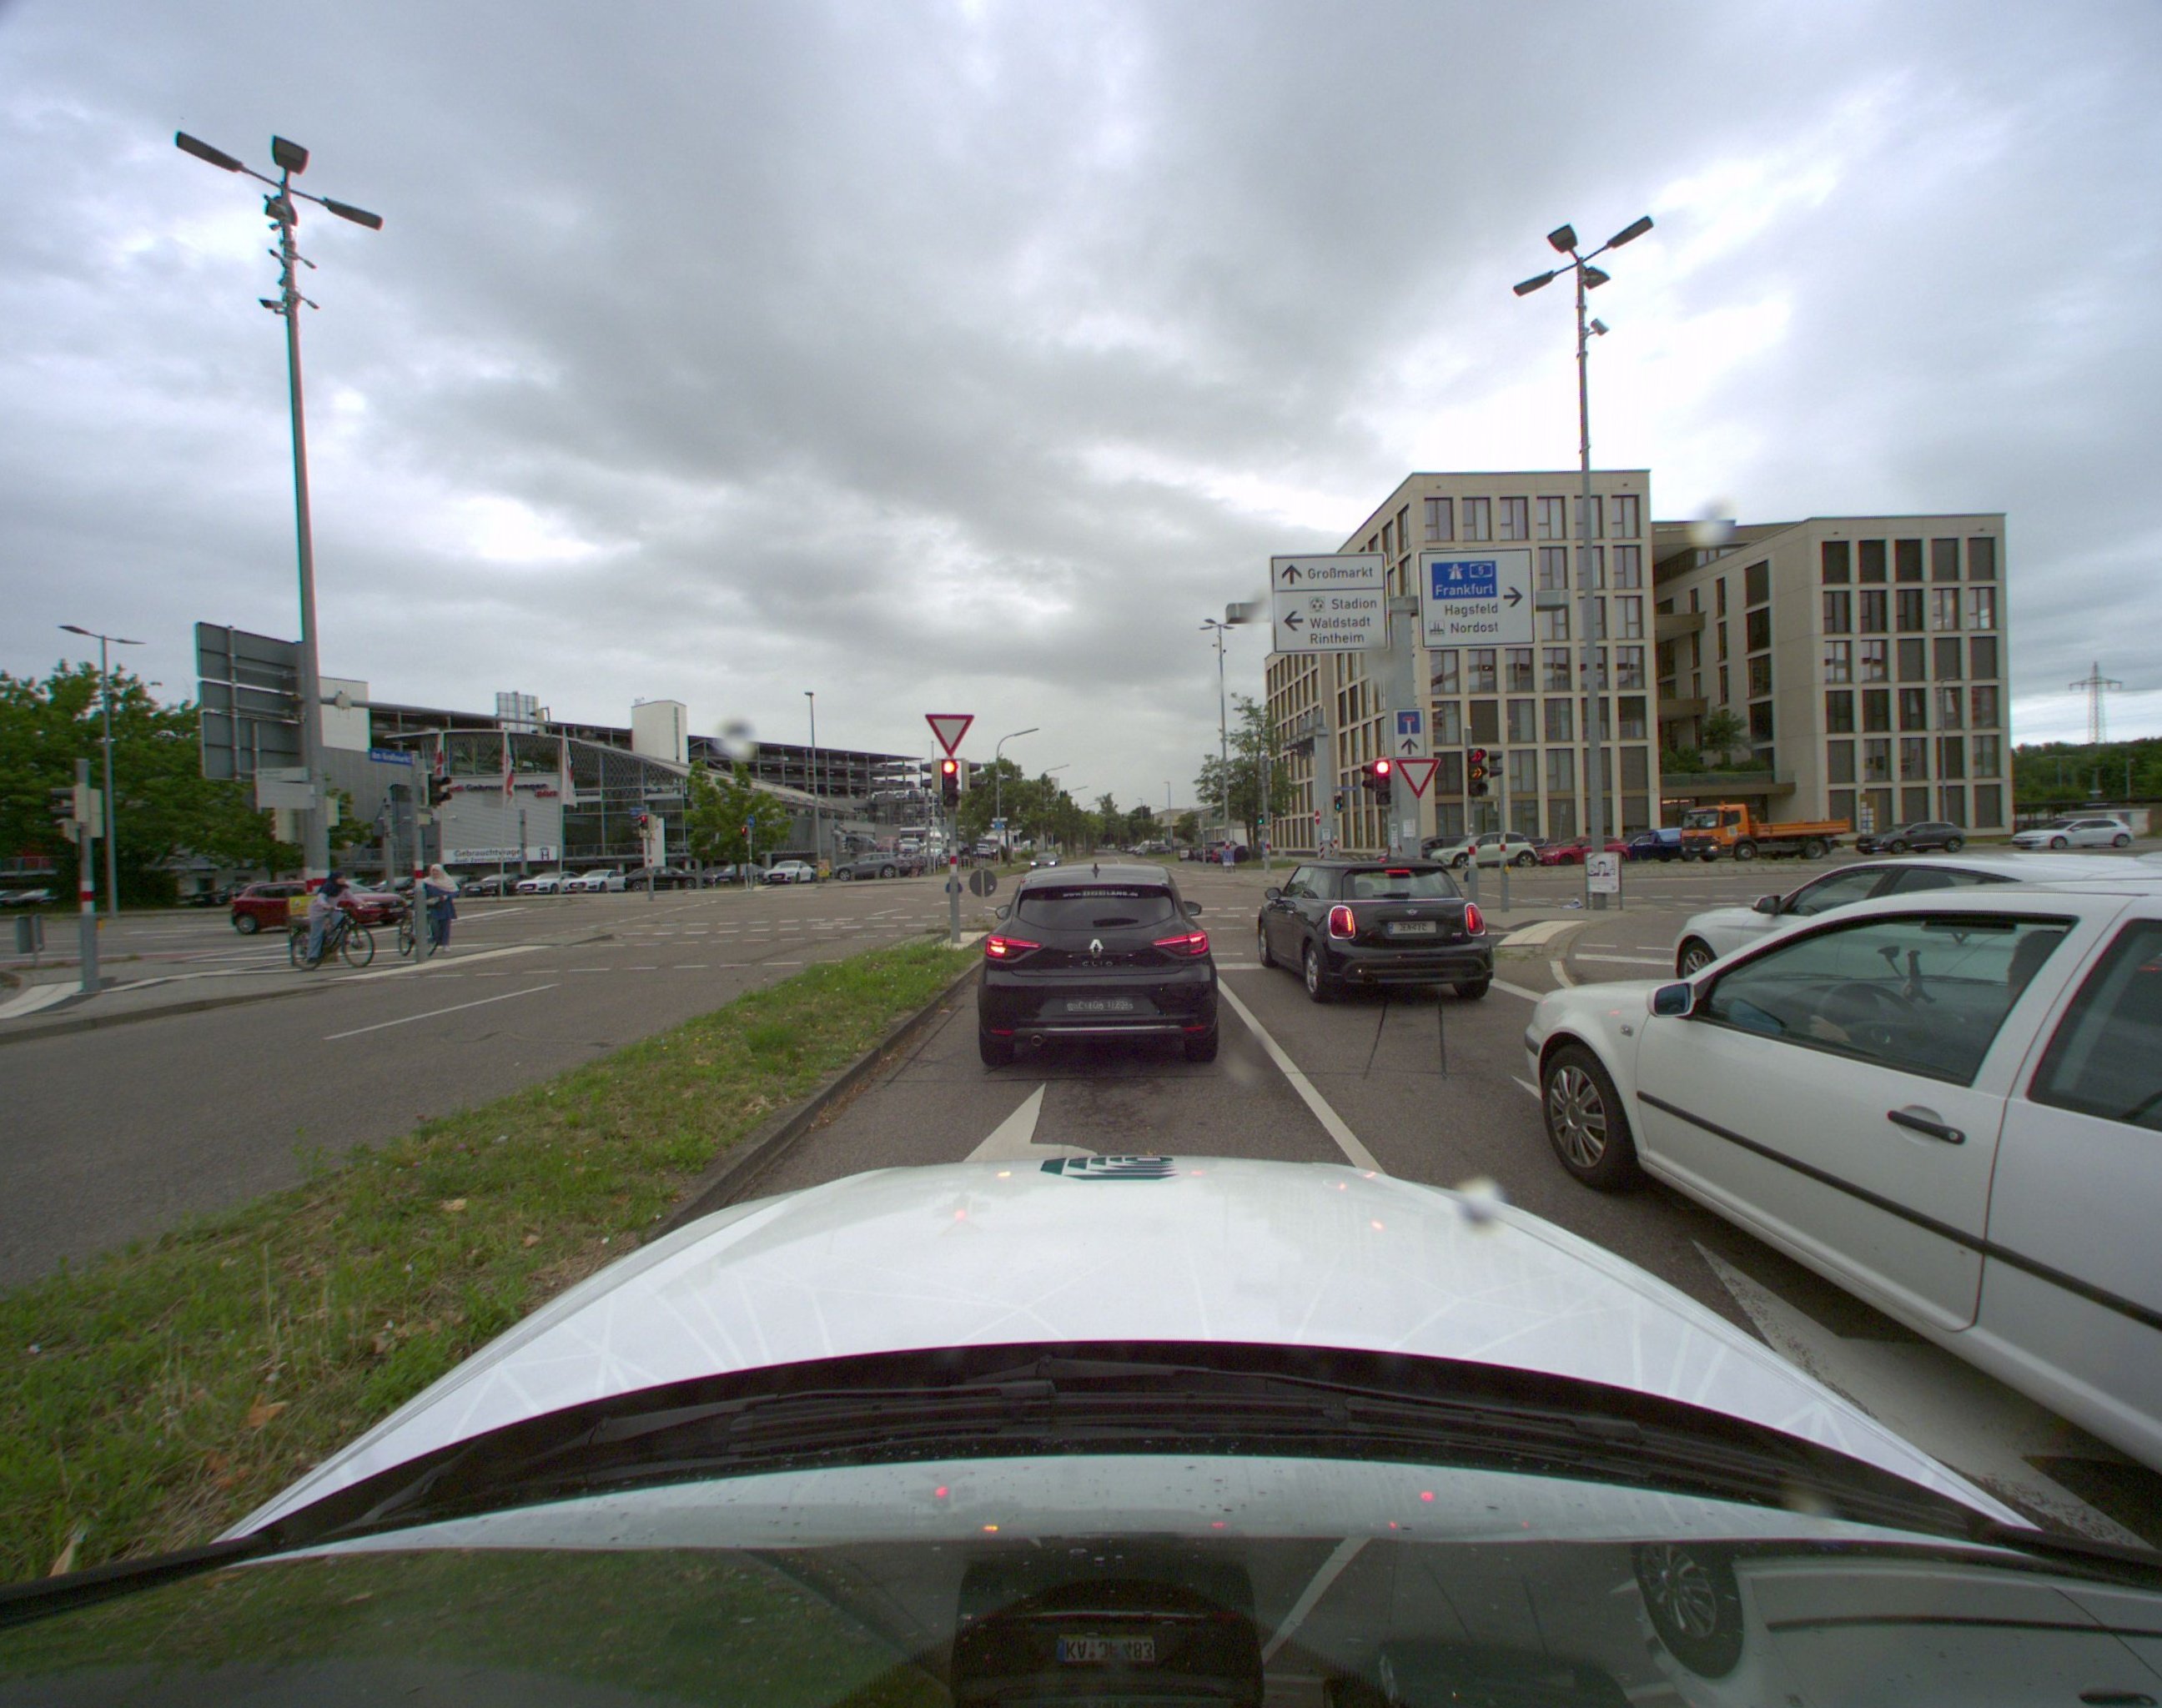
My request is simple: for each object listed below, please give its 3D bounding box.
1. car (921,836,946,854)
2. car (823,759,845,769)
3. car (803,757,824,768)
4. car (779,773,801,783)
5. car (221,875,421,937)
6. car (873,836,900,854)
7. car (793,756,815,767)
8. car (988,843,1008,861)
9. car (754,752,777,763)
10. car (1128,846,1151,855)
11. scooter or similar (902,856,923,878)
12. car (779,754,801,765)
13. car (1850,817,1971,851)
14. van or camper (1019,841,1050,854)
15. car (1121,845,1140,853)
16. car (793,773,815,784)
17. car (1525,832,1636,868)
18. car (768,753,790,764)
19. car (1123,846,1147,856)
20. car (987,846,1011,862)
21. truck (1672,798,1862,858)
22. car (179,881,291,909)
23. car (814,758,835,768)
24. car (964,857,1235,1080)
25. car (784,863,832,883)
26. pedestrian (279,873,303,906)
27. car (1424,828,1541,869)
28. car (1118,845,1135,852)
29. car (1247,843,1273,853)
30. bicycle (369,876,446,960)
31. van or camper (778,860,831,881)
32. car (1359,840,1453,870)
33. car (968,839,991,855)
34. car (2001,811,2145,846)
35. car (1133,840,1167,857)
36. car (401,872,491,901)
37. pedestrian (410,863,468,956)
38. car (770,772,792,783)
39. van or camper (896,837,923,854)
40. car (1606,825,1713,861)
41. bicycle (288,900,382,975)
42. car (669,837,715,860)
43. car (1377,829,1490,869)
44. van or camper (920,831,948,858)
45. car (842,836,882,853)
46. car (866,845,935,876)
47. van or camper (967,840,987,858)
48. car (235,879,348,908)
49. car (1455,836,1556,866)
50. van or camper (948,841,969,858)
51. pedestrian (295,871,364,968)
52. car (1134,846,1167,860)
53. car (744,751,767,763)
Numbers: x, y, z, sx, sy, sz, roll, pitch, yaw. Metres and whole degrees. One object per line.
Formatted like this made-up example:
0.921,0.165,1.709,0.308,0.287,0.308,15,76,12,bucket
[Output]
-15.199,-0.922,84.011,1.988,1.823,3.997,0,-1,-2,car
-49.787,-18.160,164.200,3.948,1.667,2.013,-1,0,33,car
-52.608,-17.995,160.139,3.948,1.667,2.013,-1,0,33,car
-55.730,-14.557,155.851,3.948,1.667,2.013,-1,0,33,car
-22.485,1.516,24.226,4.058,1.487,1.738,-3,0,-5,car
-20.097,-0.917,84.242,1.988,1.849,3.997,0,-1,-2,car
-53.838,-18.002,158.155,3.948,1.667,2.013,-1,0,33,car
-9.714,-0.186,95.504,1.988,2.014,3.997,0,-1,-2,car
-58.653,-17.896,151.361,3.948,1.667,2.013,-1,0,33,car
12.510,-0.851,175.537,4.771,1.891,2.143,0,-1,-1,car
-10.010,0.759,48.484,0.553,1.218,1.567,1,1,16,scooter or similar
-55.617,-17.987,155.555,3.948,1.667,2.013,-1,0,33,car
42.553,-1.000,41.870,4.089,1.657,2.002,0,-1,3,car
-8.589,-1.198,151.262,5.580,2.372,2.000,0,-1,0,van or camper
13.306,-1.428,218.555,5.156,2.014,2.144,0,-1,0,car
-53.817,-14.671,158.037,3.948,1.667,2.013,-1,0,33,car
23.246,-0.162,37.977,3.976,1.601,1.999,0,-1,-2,car
-56.963,-17.992,153.718,3.948,1.667,2.013,-1,0,33,car
12.091,-0.646,182.149,5.156,2.014,2.144,0,-1,0,car
-8.481,-0.024,84.564,1.987,1.618,3.999,0,-1,0,car
32.060,-1.174,38.238,6.633,2.638,2.820,0,-1,-1,truck
-46.619,2.244,45.017,1.845,1.421,4.214,-2,-2,-2,car
-51.138,-18.173,162.408,3.948,1.667,2.013,-1,0,33,car
0.180,0.760,7.287,1.750,1.434,4.001,0,-1,2,car
-26.108,1.799,78.035,3.979,1.838,1.757,0,-1,-4,car
-45.047,2.023,46.426,0.714,1.871,0.673,-2,-2,0,pedestrian
16.927,-0.229,34.421,4.047,1.643,1.903,0,-1,-4,car
12.897,-1.641,229.884,4.771,1.891,2.143,0,-1,-1,car
24.277,-0.851,110.536,3.238,1.332,1.477,0,-1,-17,car
-12.272,1.161,14.826,1.909,1.396,0.601,-5,0,38,bicycle
-23.736,1.400,69.997,3.977,1.711,1.846,0,-1,-2,van or camper
16.339,0.050,41.025,4.074,1.432,1.750,0,-1,-3,car
-10.458,-0.729,84.200,1.988,1.618,3.997,0,-1,-2,car
49.634,-1.254,40.856,4.319,1.657,2.006,-1,-1,10,car
12.771,-1.036,151.525,6.096,3.116,2.134,0,-1,0,car
-35.540,1.834,45.733,1.897,1.486,4.186,-2,-2,-2,car
-11.945,1.024,15.146,0.683,1.626,0.645,-5,-1,42,pedestrian
-56.699,-14.431,153.791,3.948,1.667,2.013,-1,0,33,car
-17.660,-0.821,83.943,1.988,1.651,3.997,0,-1,-2,van or camper
29.482,-0.533,41.589,4.126,1.769,1.998,0,-1,-3,car
-12.324,1.370,13.437,1.922,1.166,0.511,-3,-2,27,bicycle
-30.515,-0.404,63.960,1.815,1.662,3.996,0,-1,-3,car
16.276,-0.218,37.742,4.396,1.769,1.998,0,-1,-3,car
-17.177,-1.031,95.302,2.529,3.026,4.840,0,-1,-2,van or camper
-24.450,-1.094,91.053,3.975,1.838,1.759,0,-1,-1,car
-13.755,0.478,62.169,4.765,2.013,1.997,-4,0,-5,car
-12.132,-0.522,95.359,1.988,2.014,3.997,0,-1,-2,van or camper
-43.813,2.167,45.361,1.837,1.472,4.660,-1,-2,-2,car
21.396,-0.144,41.129,4.126,1.490,1.870,0,-1,-3,car
-14.330,-0.507,95.220,1.988,2.014,3.997,0,-1,-2,van or camper
-12.438,1.066,13.488,0.641,1.549,0.658,-3,-2,28,pedestrian
10.984,-0.156,128.936,5.158,2.014,2.143,0,-1,-1,car
-59.698,-17.754,149.335,3.948,1.667,2.013,-1,0,33,car
